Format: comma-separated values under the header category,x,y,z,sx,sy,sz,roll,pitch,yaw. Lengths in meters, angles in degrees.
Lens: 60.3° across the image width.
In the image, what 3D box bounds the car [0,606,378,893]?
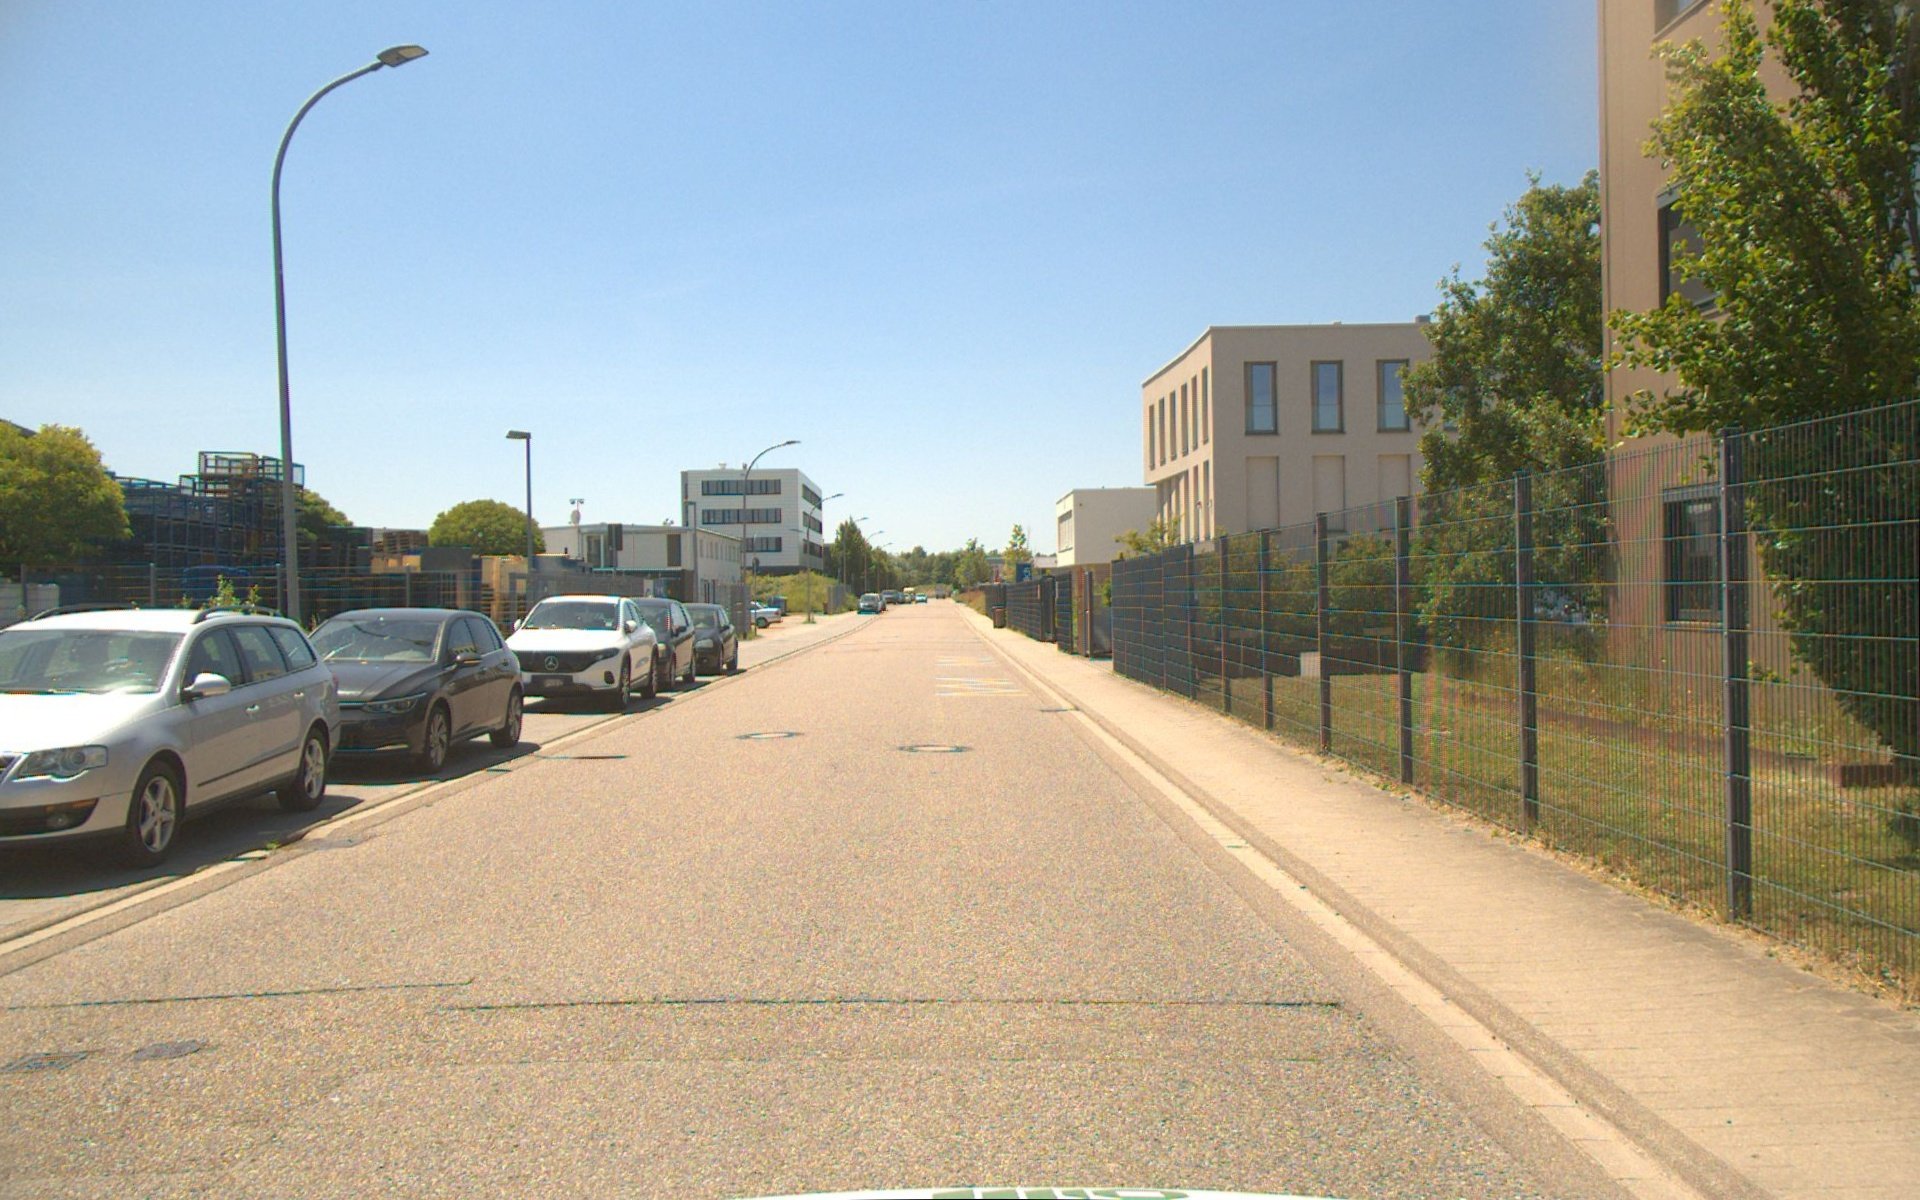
category,x,y,z,sx,sy,sz,roll,pitch,yaw
car,-5.594,0.805,11.174,1.739,1.506,4.814,0,0,-2

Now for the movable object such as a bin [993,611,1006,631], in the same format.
category,x,y,z,sx,sy,sz,roll,pitch,yaw
movable object such as a bin,1.976,1.071,83.136,0.541,0.944,0.522,-5,1,3

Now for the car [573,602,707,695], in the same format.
category,x,y,z,sx,sy,sz,roll,pitch,yaw
car,-5.810,0.833,30.531,1.733,1.583,4.499,0,0,-2

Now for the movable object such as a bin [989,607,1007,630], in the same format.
category,x,y,z,sx,sy,sz,roll,pitch,yaw
movable object such as a bin,1.931,0.939,84.092,0.763,1.037,0.665,-5,1,3

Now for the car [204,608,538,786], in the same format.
category,x,y,z,sx,sy,sz,roll,pitch,yaw
car,-5.583,0.842,16.276,1.819,1.506,4.228,0,0,-1

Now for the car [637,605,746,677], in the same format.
category,x,y,z,sx,sy,sz,roll,pitch,yaw
car,-5.847,0.863,36.427,1.733,1.487,4.332,0,0,-1

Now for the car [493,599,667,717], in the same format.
category,x,y,z,sx,sy,sz,roll,pitch,yaw
car,-5.607,0.803,24.900,1.733,1.620,4.358,0,0,-2

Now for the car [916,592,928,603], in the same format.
category,x,y,z,sx,sy,sz,roll,pitch,yaw
car,-5.774,-0.349,253.904,1.767,1.584,3.999,-1,0,-1

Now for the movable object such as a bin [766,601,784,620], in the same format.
category,x,y,z,sx,sy,sz,roll,pitch,yaw
movable object such as a bin,-13.900,0.797,124.534,1.260,1.436,1.805,-1,0,-5

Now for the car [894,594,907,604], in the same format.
category,x,y,z,sx,sy,sz,roll,pitch,yaw
car,-9.093,-0.144,252.564,1.767,1.584,3.999,-1,0,-1

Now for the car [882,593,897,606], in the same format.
category,x,y,z,sx,sy,sz,roll,pitch,yaw
car,-7.907,-0.055,185.887,1.611,1.516,3.207,-1,0,-1

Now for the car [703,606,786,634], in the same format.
category,x,y,z,sx,sy,sz,roll,pitch,yaw
car,-11.661,1.080,89.601,4.191,1.388,1.897,-2,0,-1

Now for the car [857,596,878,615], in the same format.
category,x,y,z,sx,sy,sz,roll,pitch,yaw
car,-7.324,0.429,130.914,1.437,1.516,3.207,-1,0,-1
